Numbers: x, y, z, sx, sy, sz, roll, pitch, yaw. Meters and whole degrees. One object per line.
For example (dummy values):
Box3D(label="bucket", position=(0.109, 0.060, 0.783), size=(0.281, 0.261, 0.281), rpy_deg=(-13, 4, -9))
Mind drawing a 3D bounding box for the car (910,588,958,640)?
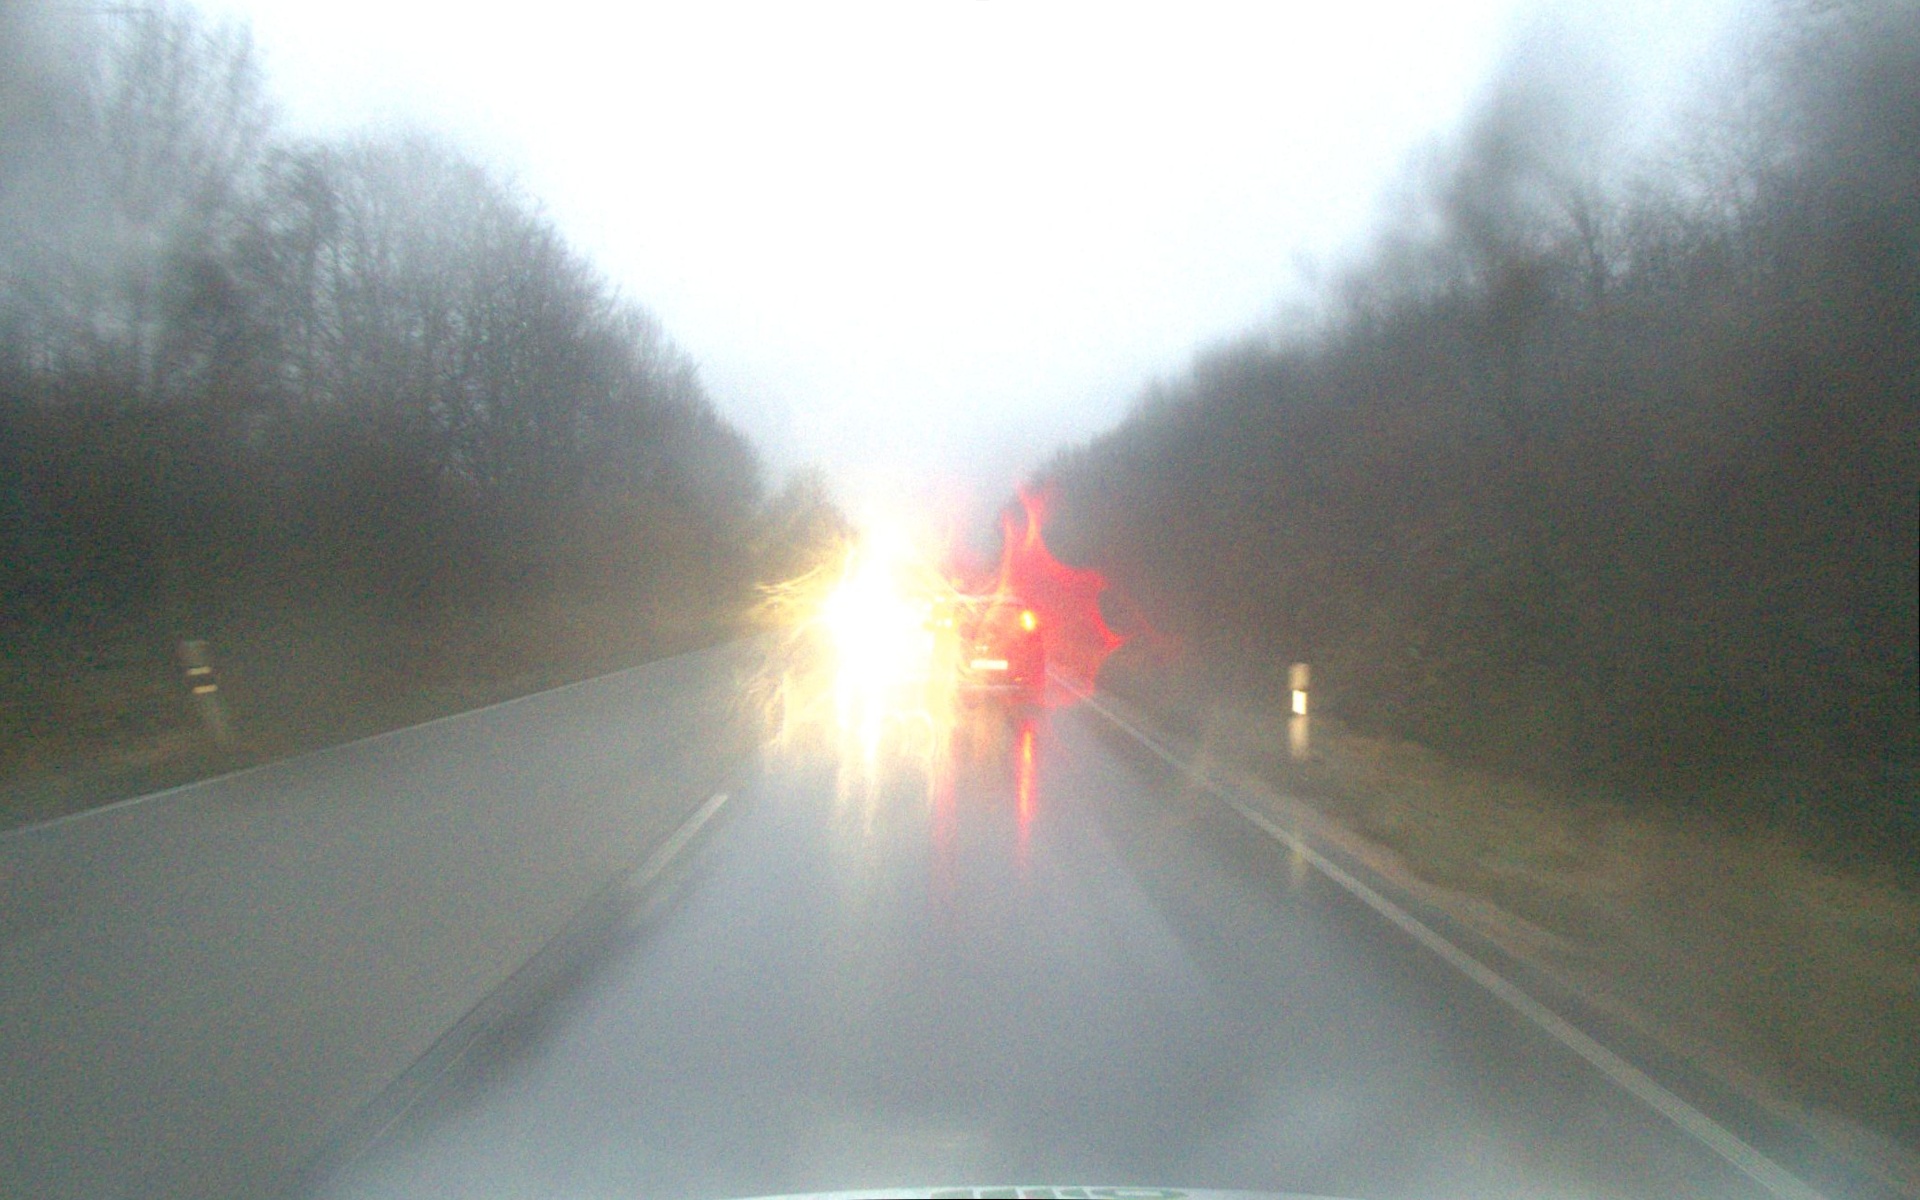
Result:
Box3D(label="car", position=(-0.982, 0.497, 60.874), size=(1.698, 1.810, 3.999), rpy_deg=(0, 0, -1))

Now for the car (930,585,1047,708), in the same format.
Box3D(label="car", position=(0.426, 0.652, 24.819), size=(1.614, 1.701, 3.514), rpy_deg=(0, 0, 1))

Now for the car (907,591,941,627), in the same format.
Box3D(label="car", position=(-1.868, 0.430, 85.644), size=(1.698, 1.810, 3.999), rpy_deg=(0, 0, -1))
